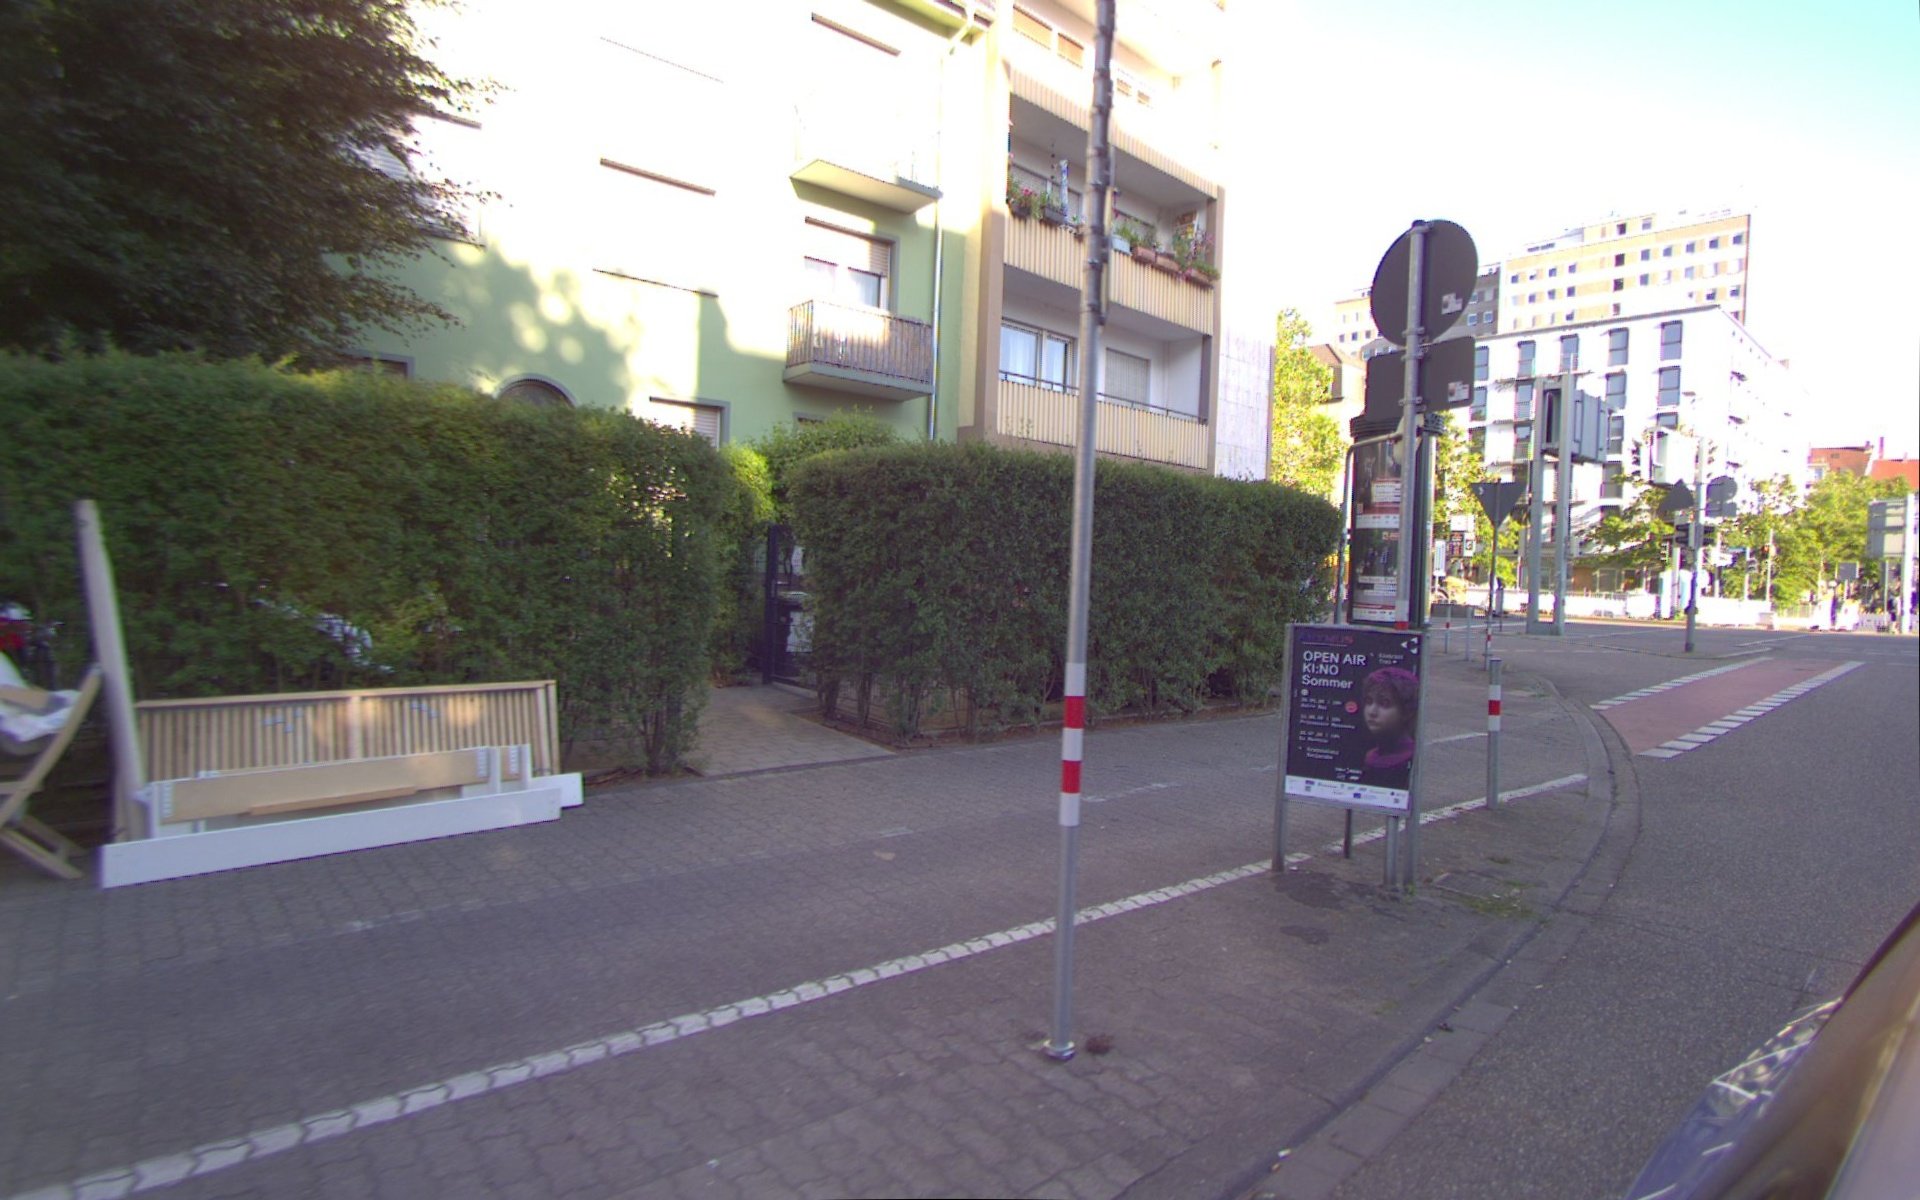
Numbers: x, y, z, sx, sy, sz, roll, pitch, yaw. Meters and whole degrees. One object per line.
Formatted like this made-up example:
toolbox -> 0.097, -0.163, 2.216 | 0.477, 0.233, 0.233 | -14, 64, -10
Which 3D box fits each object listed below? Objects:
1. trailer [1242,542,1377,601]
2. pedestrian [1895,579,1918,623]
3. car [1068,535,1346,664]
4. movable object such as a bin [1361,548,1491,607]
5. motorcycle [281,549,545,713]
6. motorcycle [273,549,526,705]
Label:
trailer -> 18.092, -1.498, 52.670 | 2.500, 2.903, 6.115 | 0, 2, -44
pedestrian -> 42.213, 0.035, 45.139 | 0.493, 1.900, 0.598 | 2, 1, 22
car -> 3.915, -0.084, 16.580 | 1.829, 1.836, 4.095 | 1, 2, -41
movable object such as a bin -> 22.042, -1.101, 48.056 | 1.964, 2.625, 5.211 | 1, 2, -39
motorcycle -> -4.609, 0.235, 8.630 | 1.908, 1.273, 0.495 | 1, 1, -40
motorcycle -> -4.950, 0.215, 9.031 | 1.908, 1.273, 0.495 | 1, 1, -40
